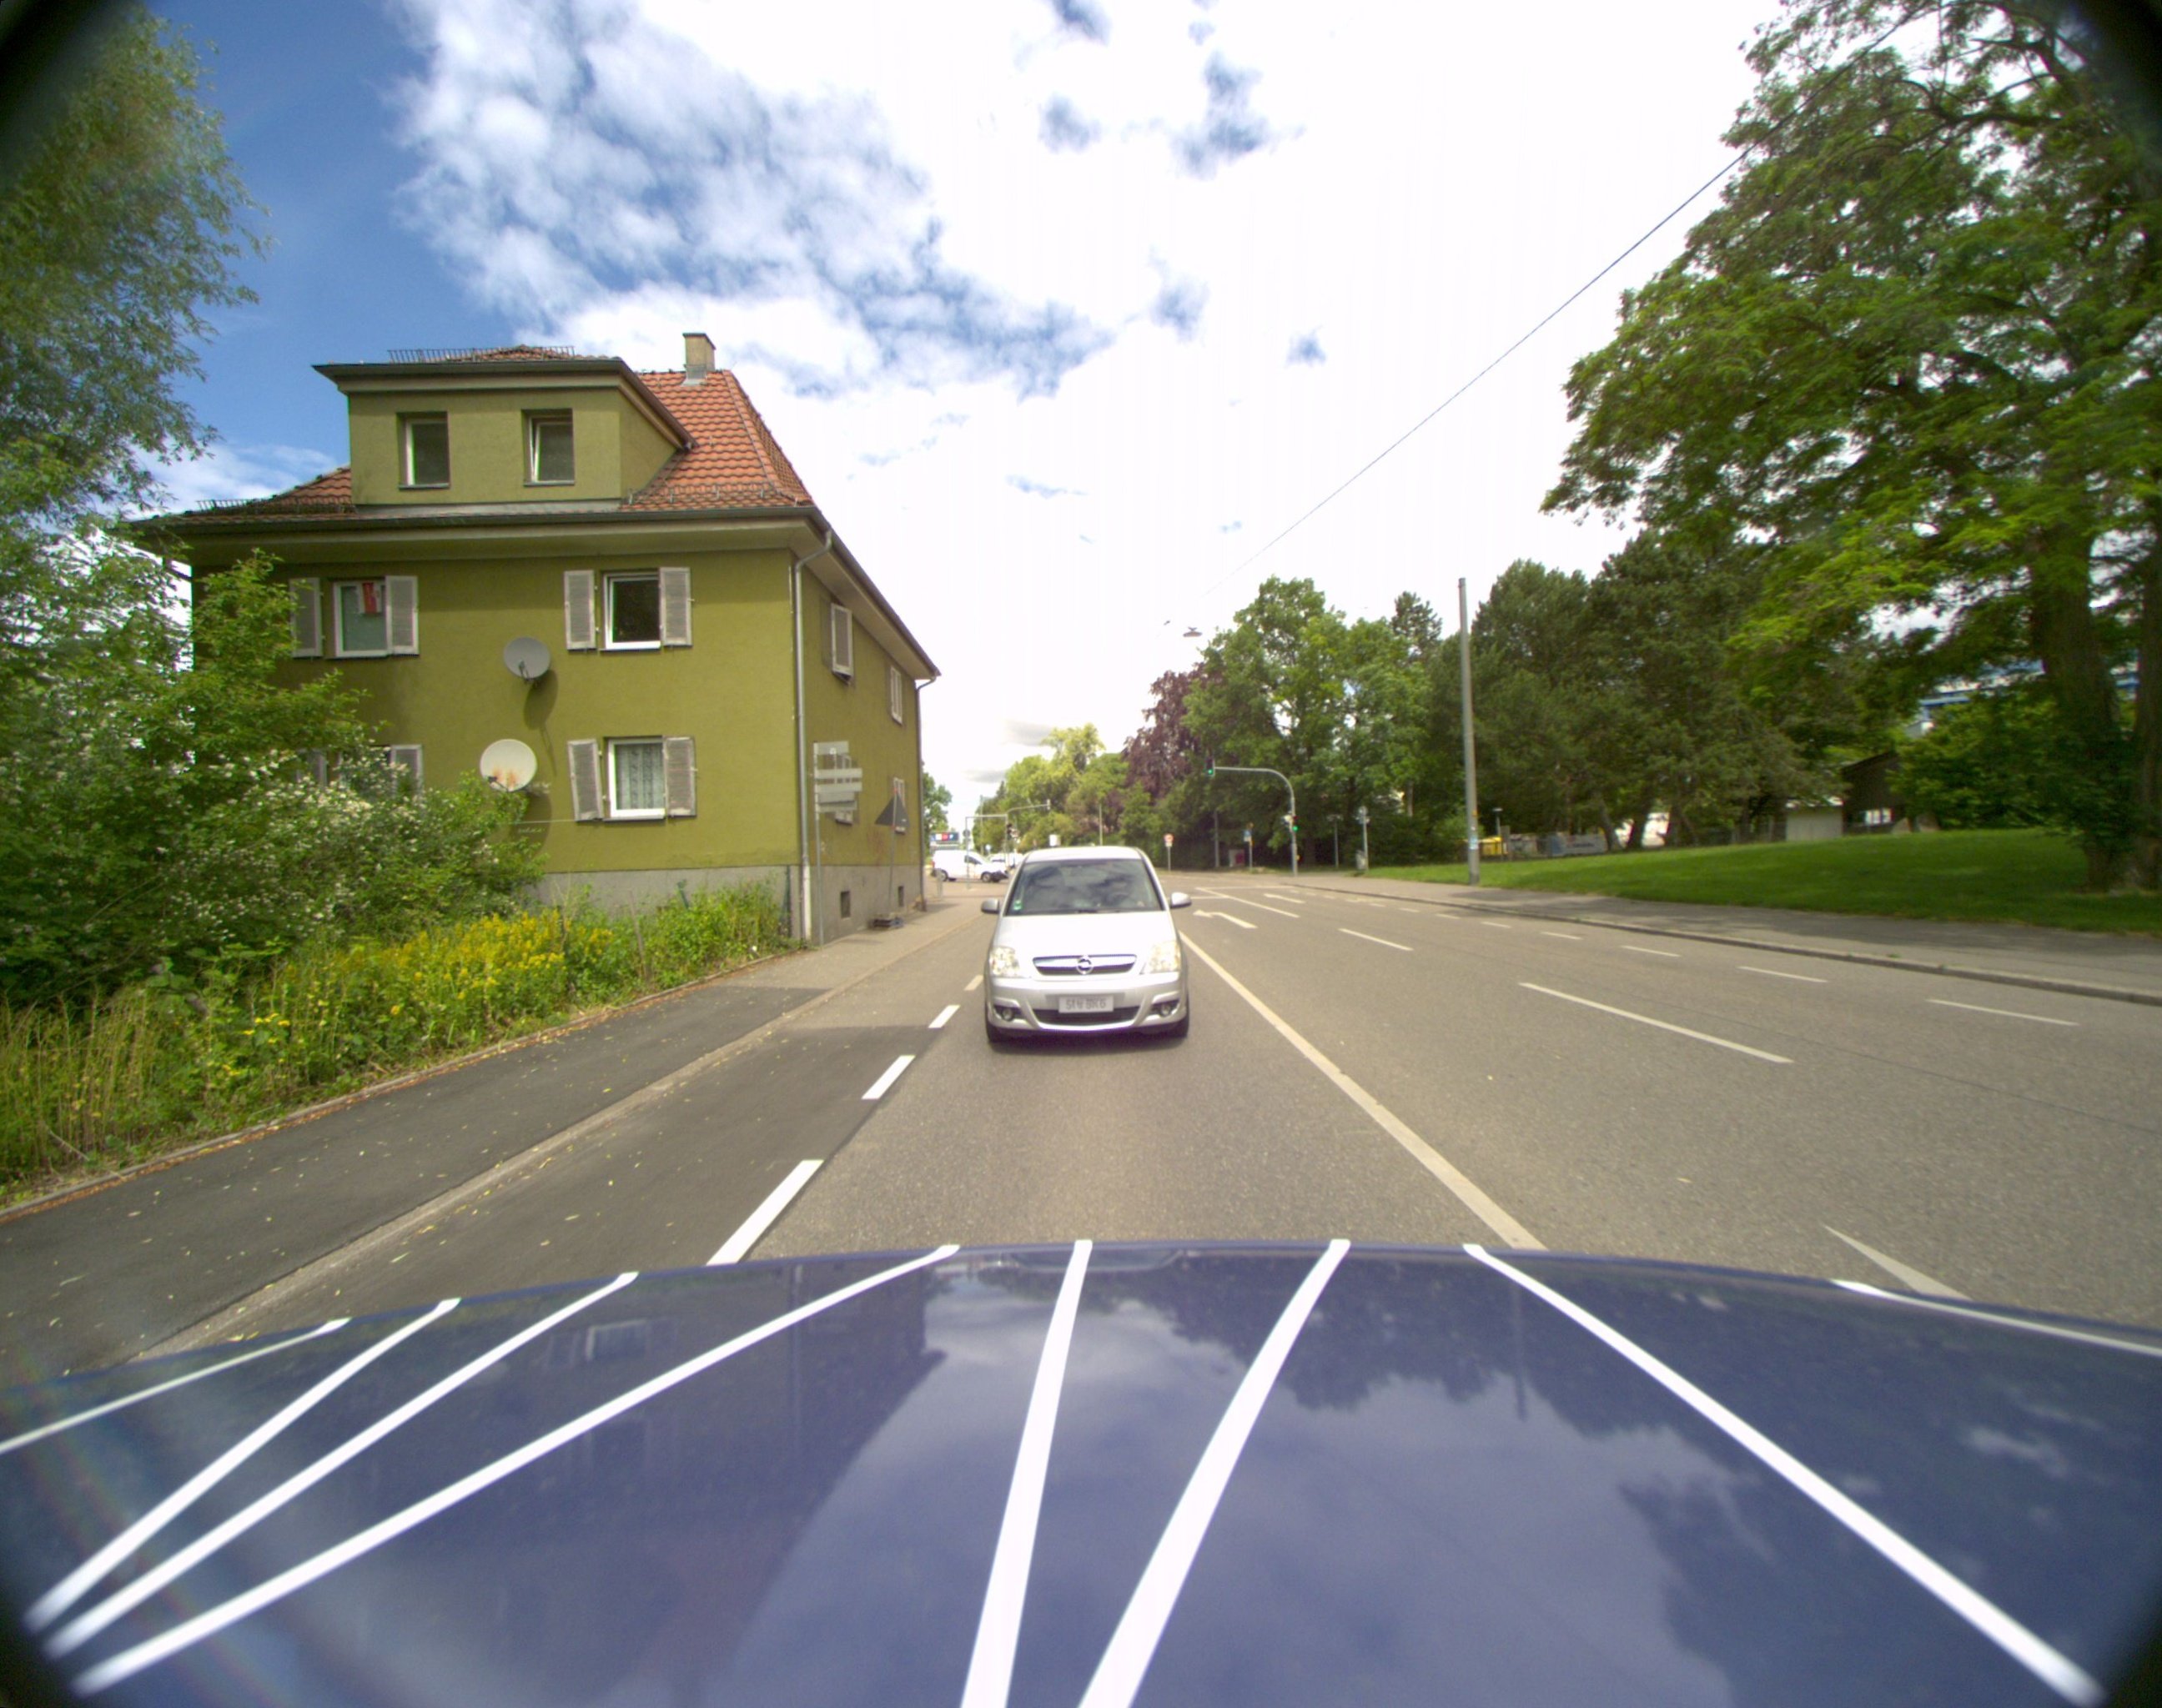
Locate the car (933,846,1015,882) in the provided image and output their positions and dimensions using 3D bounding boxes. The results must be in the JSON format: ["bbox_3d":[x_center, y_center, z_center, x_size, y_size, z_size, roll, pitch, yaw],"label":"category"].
[{"bbox_3d":[-6.247,0.557,44.634,4.364,1.983,2.001,-1,1,9],"label":"car"}]

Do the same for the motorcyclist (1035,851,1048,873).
[{"bbox_3d":[-2.728,0.552,52.793,0.837,1.547,0.650,0,1,-1],"label":"motorcyclist"}]

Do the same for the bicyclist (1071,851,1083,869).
[{"bbox_3d":[-0.363,0.572,68.880,0.807,1.599,0.771,-4,1,-9],"label":"bicyclist"}]

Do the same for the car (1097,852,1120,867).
[{"bbox_3d":[2.915,0.592,82.454,1.900,1.501,3.997,-1,0,-7],"label":"car"}]

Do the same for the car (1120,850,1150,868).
[{"bbox_3d":[4.799,0.424,68.196,1.900,1.501,3.997,-1,0,-7],"label":"car"}]

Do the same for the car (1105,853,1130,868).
[{"bbox_3d":[3.701,0.644,77.525,1.900,1.501,3.997,-1,0,-7],"label":"car"}]

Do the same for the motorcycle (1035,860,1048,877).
[{"bbox_3d":[-2.721,0.982,52.815,0.837,1.101,1.800,0,1,0],"label":"motorcycle"}]

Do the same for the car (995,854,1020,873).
[{"bbox_3d":[-6.735,0.815,69.900,1.799,1.502,3.998,-2,2,0],"label":"car"}]

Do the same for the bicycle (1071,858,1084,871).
[{"bbox_3d":[-0.344,0.905,68.939,0.814,1.101,1.798,-4,1,-9],"label":"bicycle"}]

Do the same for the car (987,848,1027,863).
[{"bbox_3d":[-8.781,0.149,90.352,4.491,1.787,1.803,0,1,25],"label":"car"}]

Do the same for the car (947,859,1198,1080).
[{"bbox_3d":[-0.015,0.851,7.477,1.780,1.519,4.000,-1,0,1],"label":"car"}]
